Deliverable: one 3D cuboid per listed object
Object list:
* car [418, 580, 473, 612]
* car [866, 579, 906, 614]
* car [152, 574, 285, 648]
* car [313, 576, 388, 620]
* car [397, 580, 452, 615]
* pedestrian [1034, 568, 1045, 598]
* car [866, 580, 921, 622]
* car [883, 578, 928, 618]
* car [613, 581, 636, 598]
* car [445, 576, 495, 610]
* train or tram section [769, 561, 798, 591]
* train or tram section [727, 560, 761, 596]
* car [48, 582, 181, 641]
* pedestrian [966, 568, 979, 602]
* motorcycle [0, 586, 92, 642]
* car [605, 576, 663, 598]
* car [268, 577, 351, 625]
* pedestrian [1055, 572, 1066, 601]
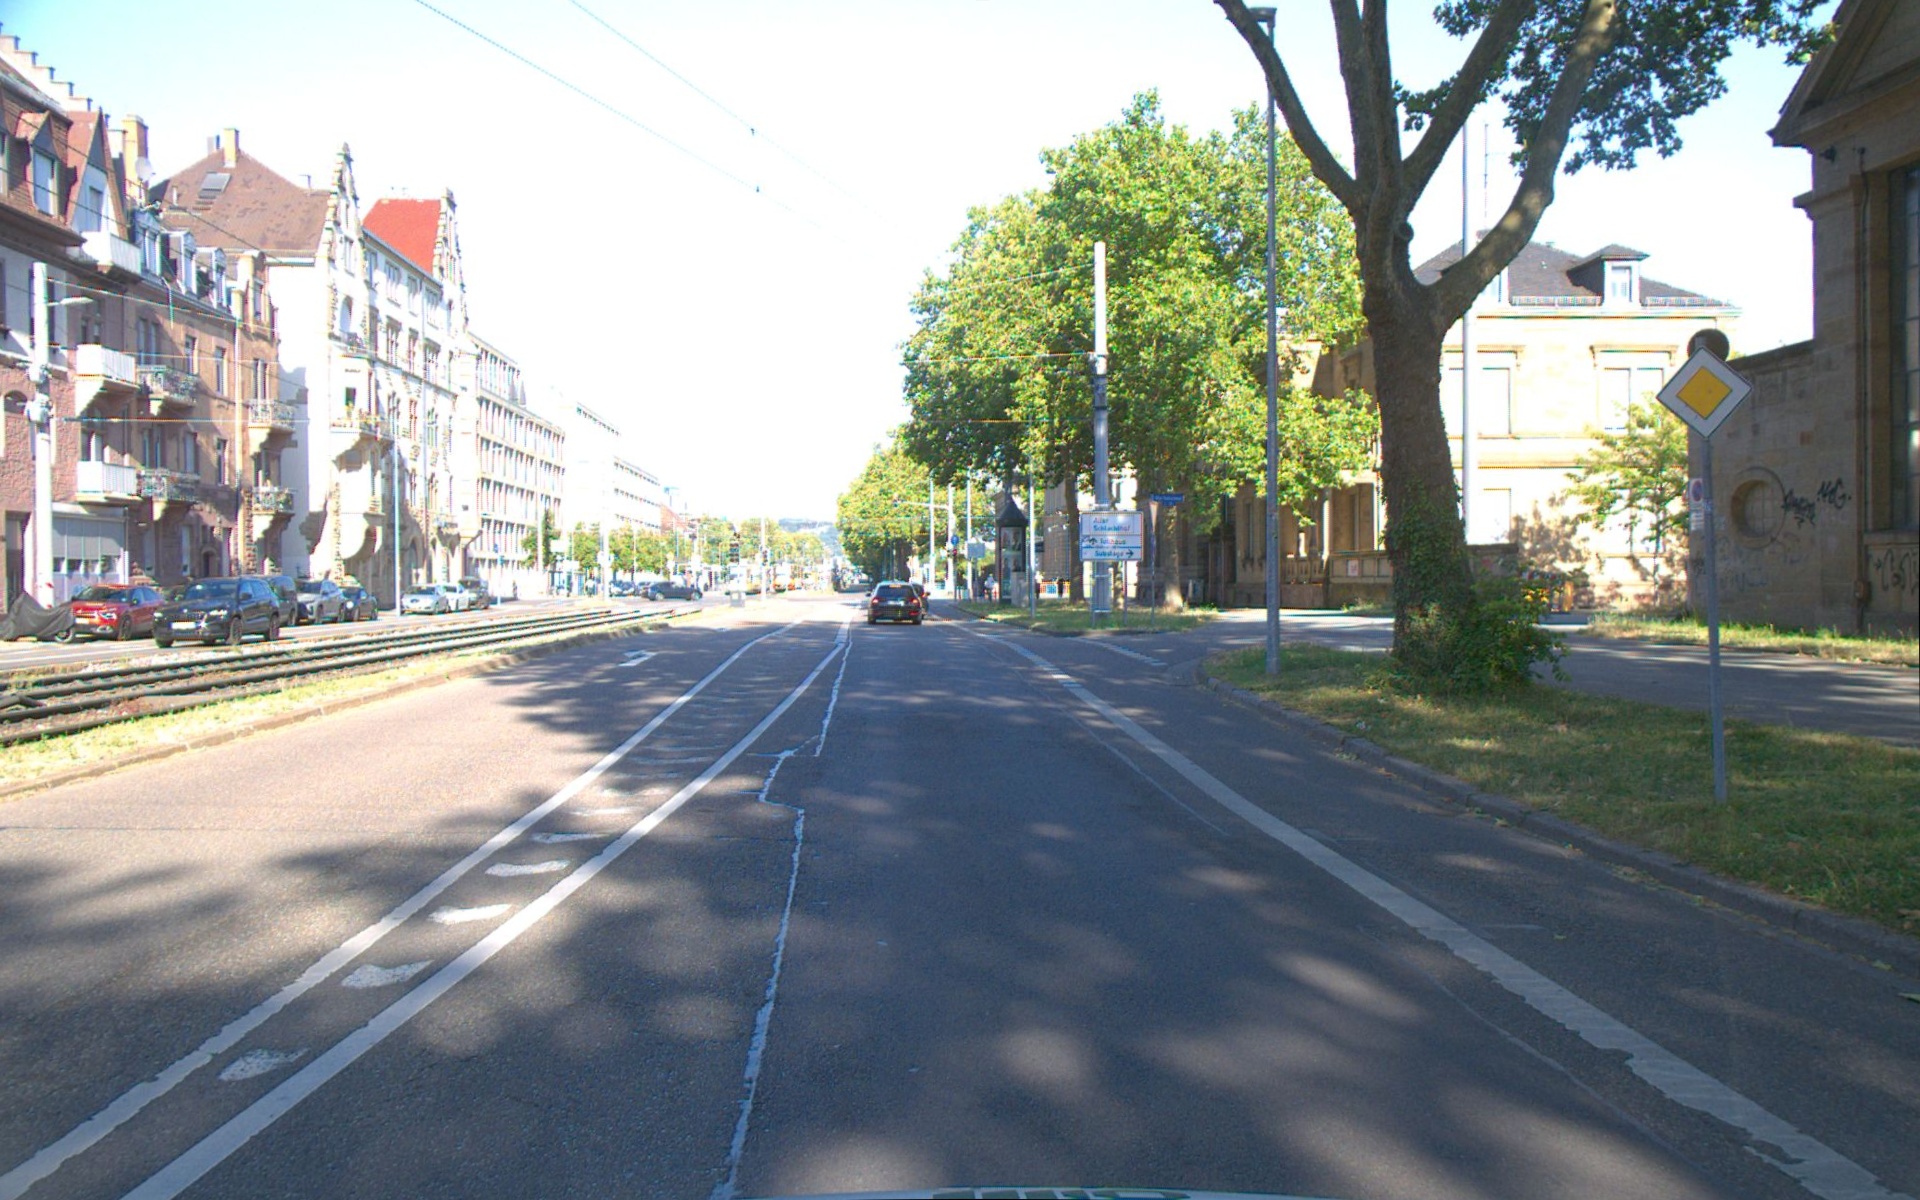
[{"bbox_3d":[-26.386,-0.231,84.985,1.759,1.536,4.181,3,0,-5],"label":"car"},{"bbox_3d":[-3.416,-0.161,75.976,1.758,1.536,3.998,-1,1,-3],"label":"car"},{"bbox_3d":[-17.719,0.229,39.728,1.603,1.629,4.154,-2,1,-5],"label":"car"},{"bbox_3d":[-24.833,-0.109,67.489,1.653,1.681,4.196,3,0,-4],"label":"car"},{"bbox_3d":[-25.733,-0.134,79.536,1.761,1.536,3.993,3,0,-8],"label":"car"},{"bbox_3d":[4.815,-1.038,100.161,0.575,1.758,0.651,1,1,9],"label":"pedestrian"},{"bbox_3d":[-2.355,0.000,57.772,1.797,1.415,4.156,0,1,-4],"label":"car"},{"bbox_3d":[-2.244,-0.094,67.533,1.758,1.536,3.998,-1,1,-3],"label":"car"},{"bbox_3d":[-31.781,-0.969,156.696,1.760,1.536,3.995,-1,1,-6],"label":"car"},{"bbox_3d":[-26.777,-0.419,90.537,1.759,1.749,4.181,3,0,-5],"label":"car"},{"bbox_3d":[-21.208,-2.837,198.975,2.769,3.511,9.060,-1,1,-3],"label":"train or tram section"},{"bbox_3d":[-21.864,-2.207,167.666,2.769,3.511,9.058,-1,1,-3],"label":"train or tram section"},{"bbox_3d":[-23.528,0.297,46.199,1.759,1.485,4.263,3,0,-4],"label":"car"},{"bbox_3d":[0.655,-0.802,87.336,0.575,1.758,0.651,1,1,9],"label":"pedestrian"},{"bbox_3d":[-23.672,0.353,42.737,2.037,1.350,0.836,2,0,-20],"label":"motorcycle"},{"bbox_3d":[-23.706,-0.936,120.278,3.925,1.537,1.791,1,0,-18],"label":"car"},{"bbox_3d":[-24.382,0.011,62.137,1.653,1.681,4.196,3,0,-4],"label":"car"},{"bbox_3d":[6.100,-0.800,100.147,0.575,1.758,0.651,1,1,11],"label":"pedestrian"}]
